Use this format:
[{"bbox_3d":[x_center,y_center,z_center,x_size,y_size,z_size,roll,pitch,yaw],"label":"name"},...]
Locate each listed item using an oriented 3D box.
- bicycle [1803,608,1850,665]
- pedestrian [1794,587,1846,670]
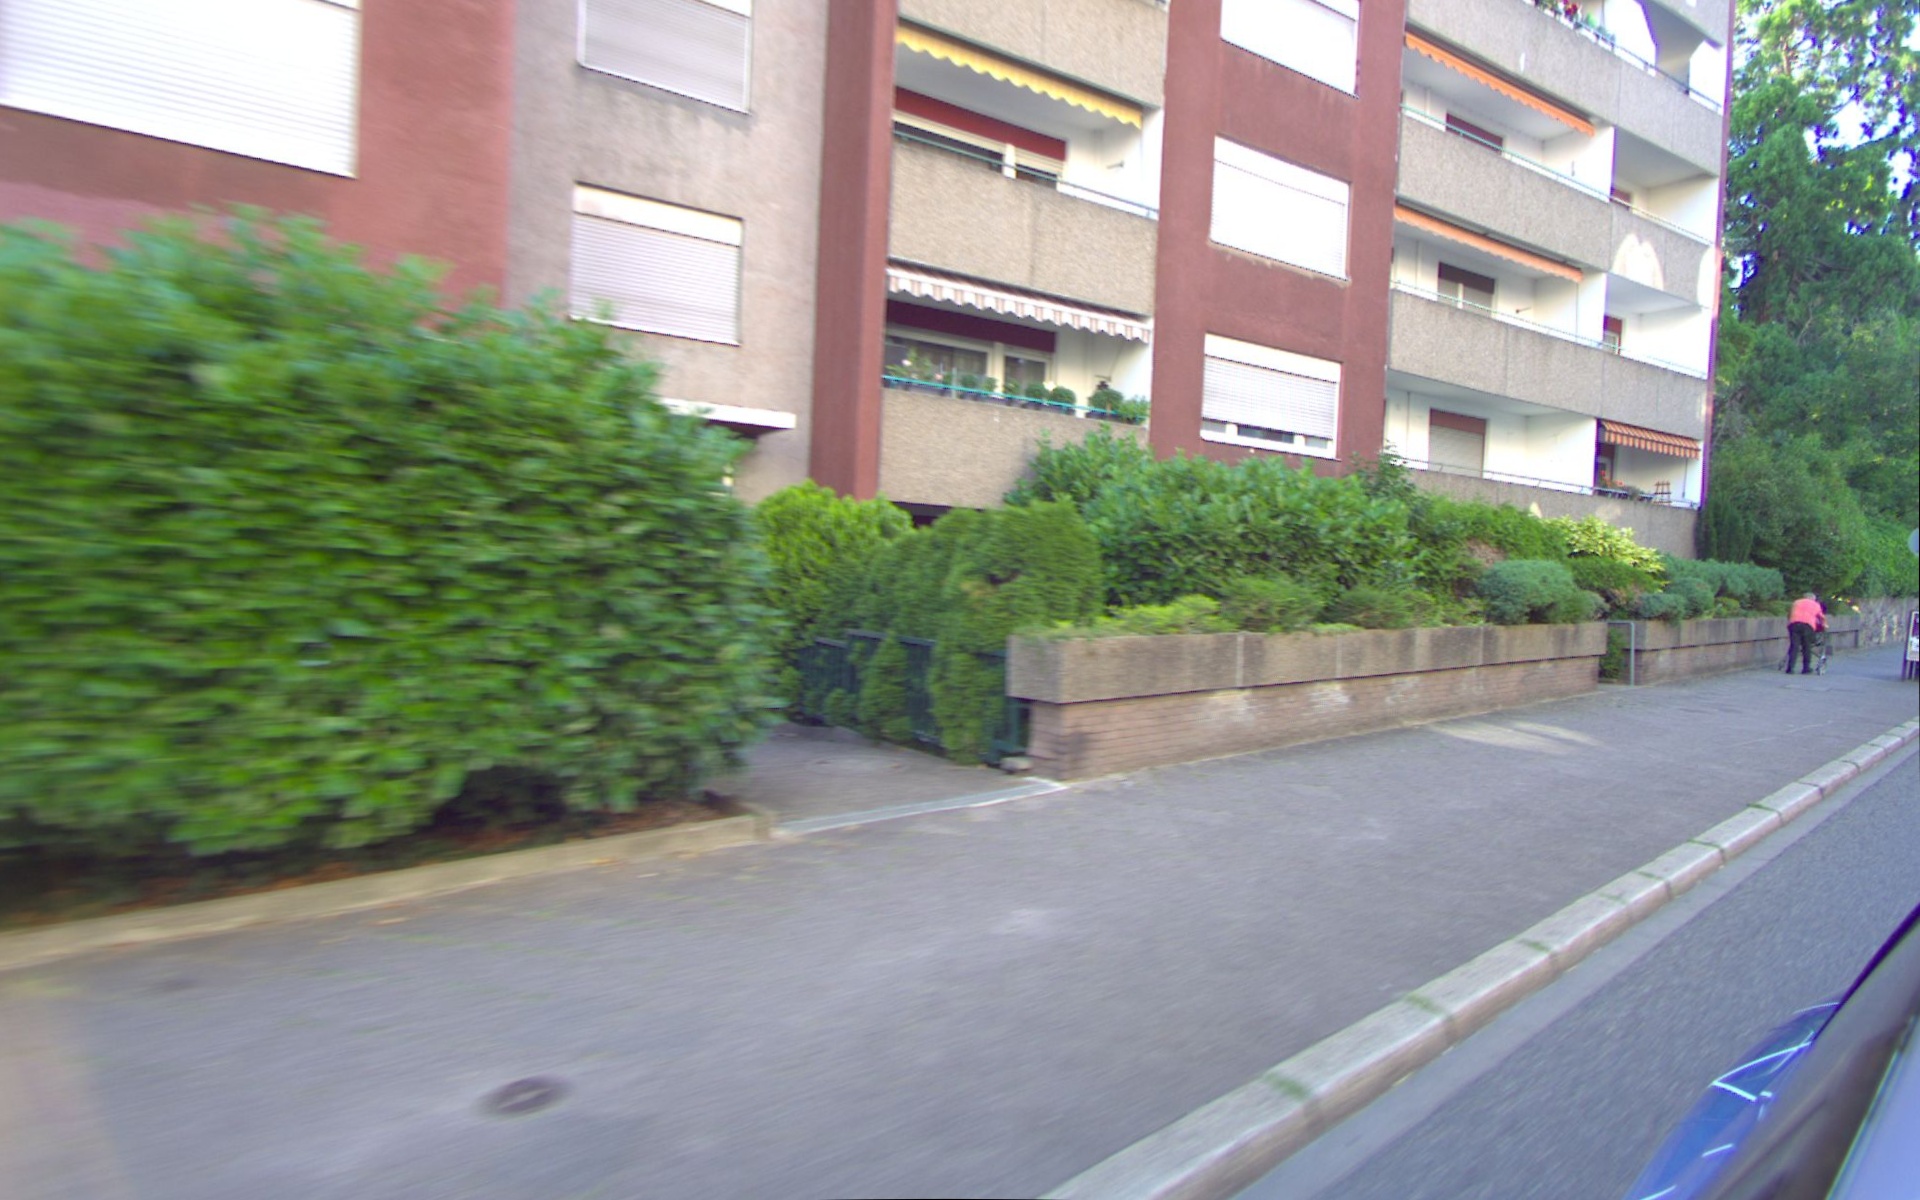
[{"bbox_3d":[15.593,0.647,18.205,0.484,0.982,0.567,2,0,-42],"label":"bicycle"},{"bbox_3d":[15.139,0.486,17.809,0.656,1.421,0.598,2,0,-42],"label":"pedestrian"}]
